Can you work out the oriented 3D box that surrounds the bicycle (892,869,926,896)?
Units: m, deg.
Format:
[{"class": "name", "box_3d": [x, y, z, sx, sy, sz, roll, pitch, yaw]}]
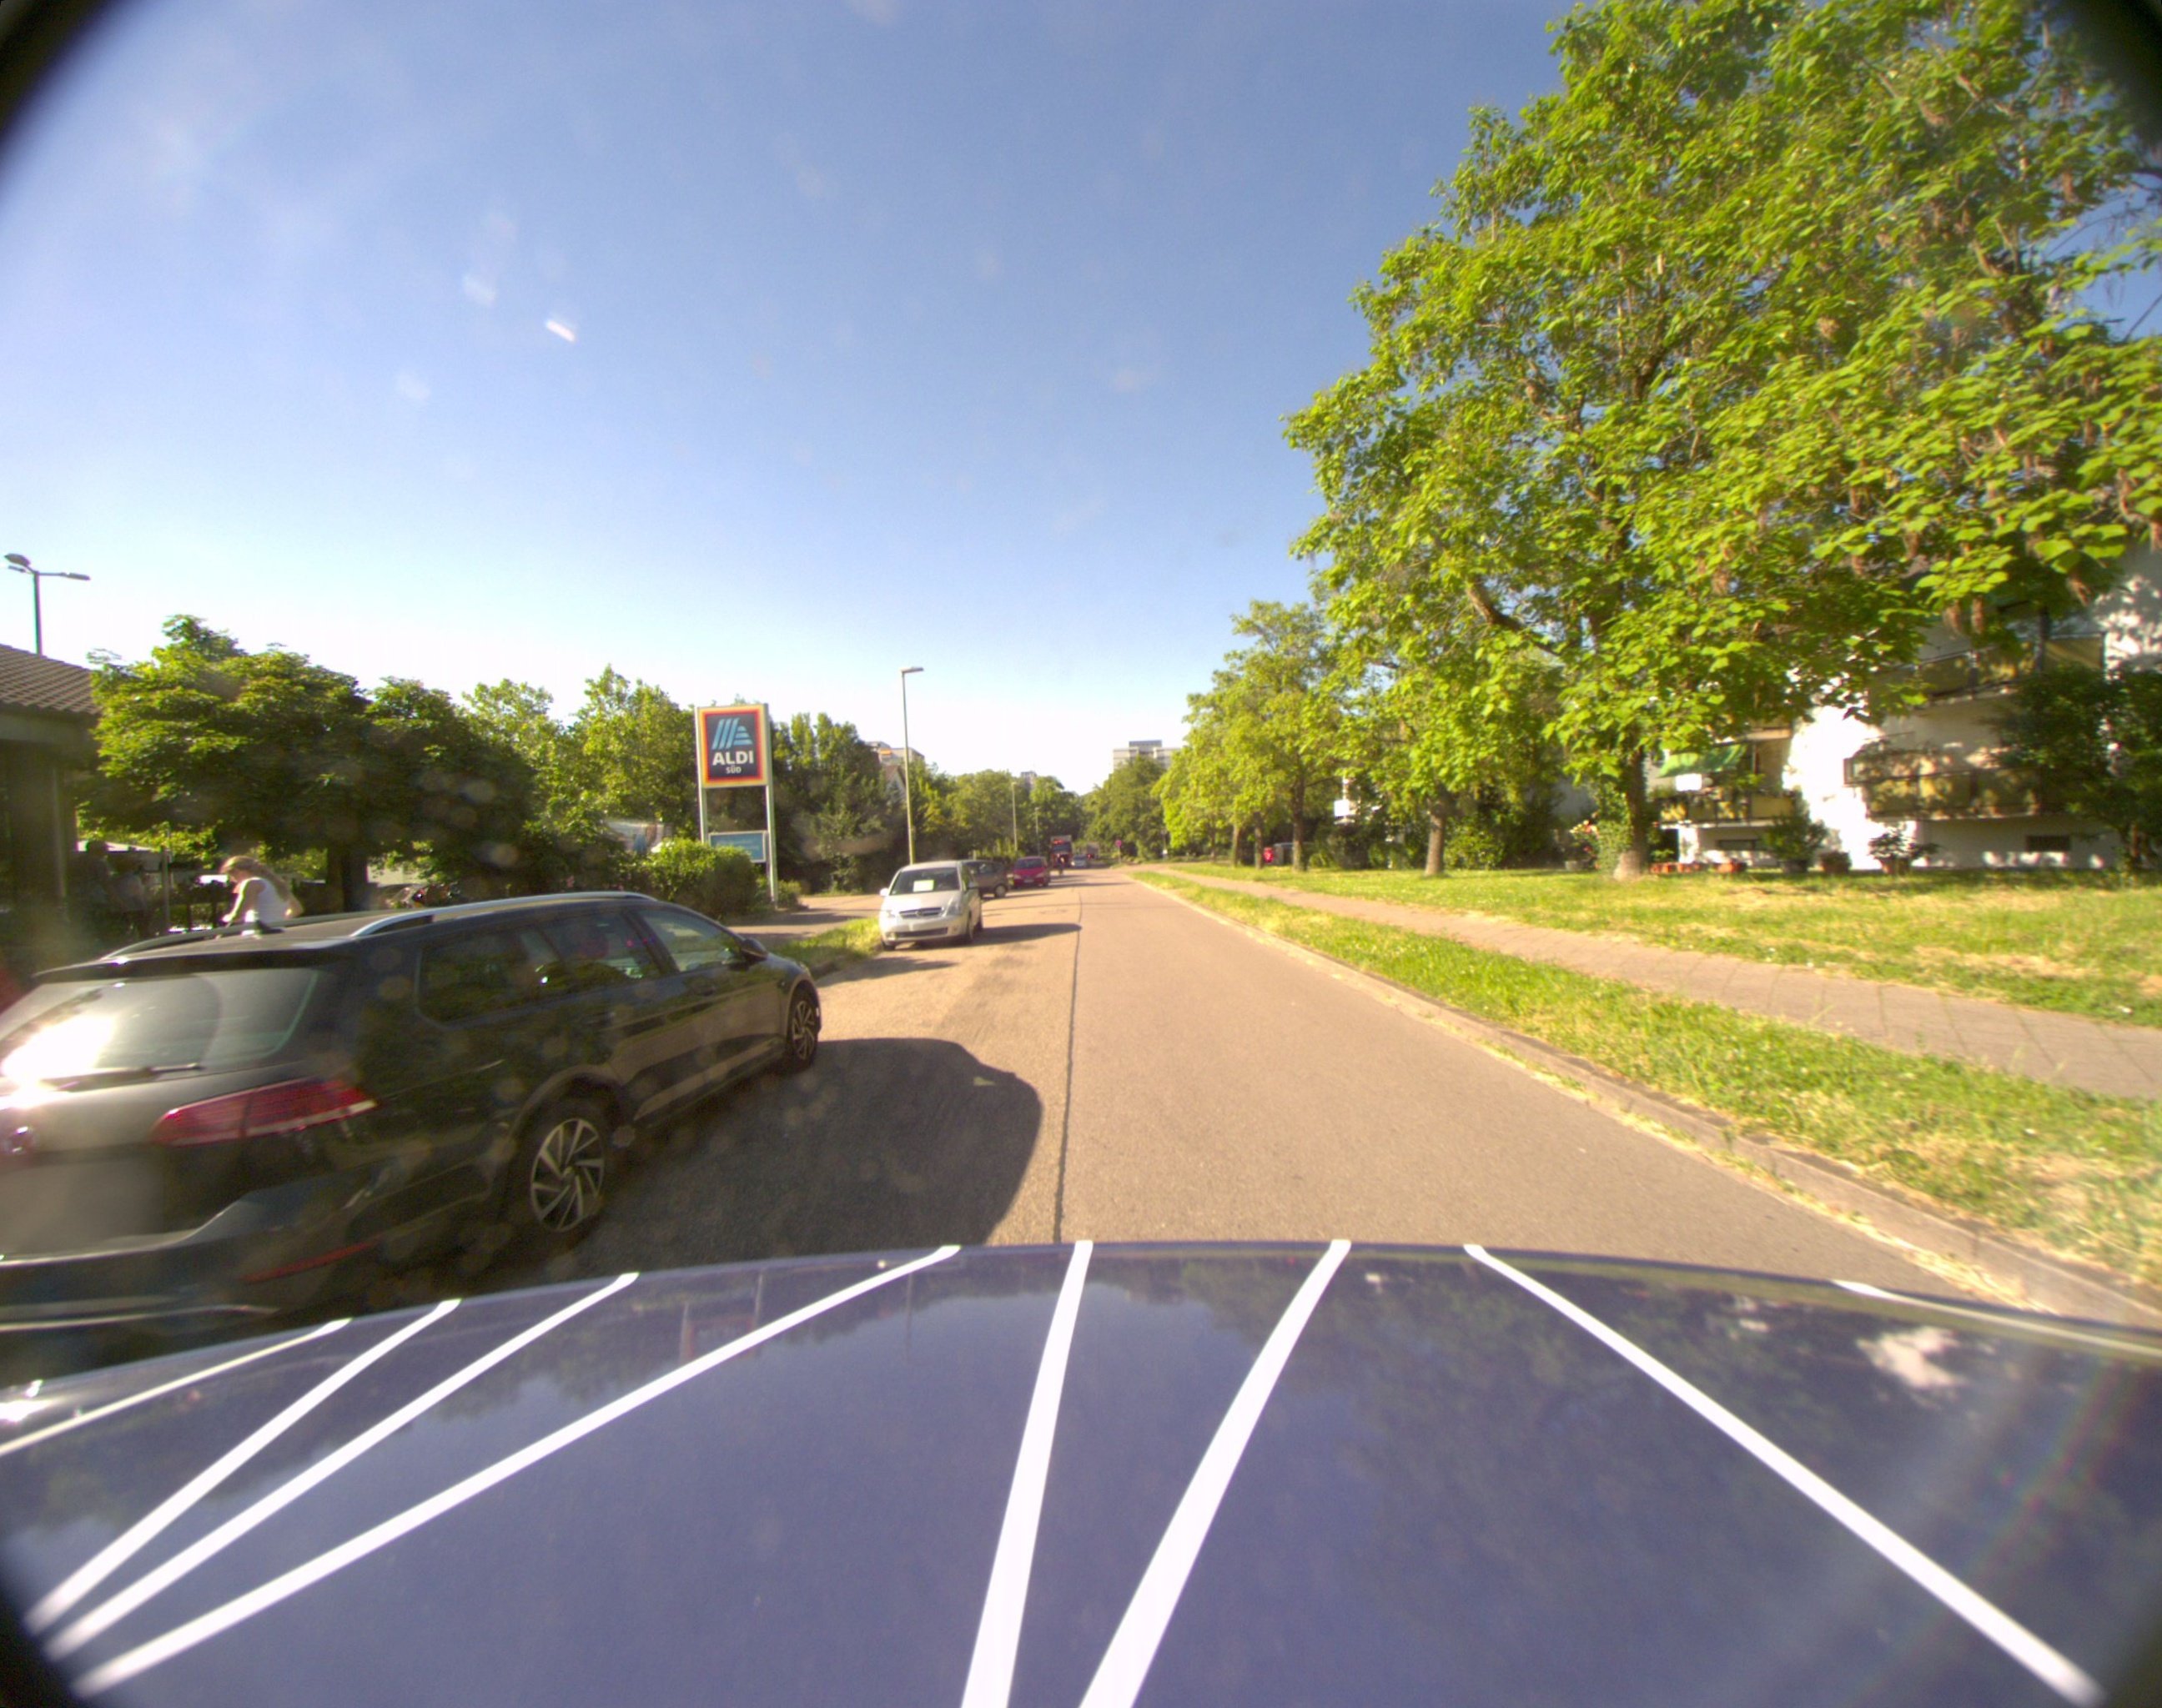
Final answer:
[{"class": "bicycle", "box_3d": [-8.313, 1.364, 36.755, 0.721, 1.214, 1.898, 0, 2, 16]}]

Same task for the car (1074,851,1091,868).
[{"class": "car", "box_3d": [0.161, 0.557, 87.090, 1.845, 1.795, 4.028, -3, 1, 0]}]

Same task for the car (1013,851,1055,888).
[{"class": "car", "box_3d": [-2.559, 0.823, 42.231, 1.844, 1.795, 4.653, -3, 1, 1]}]

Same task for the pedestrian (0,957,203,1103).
[{"class": "pedestrian", "box_3d": [-7.867, 1.386, 6.136, 0.533, 0.975, 0.811, -3, 1, 8]}]

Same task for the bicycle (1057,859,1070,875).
[{"class": "bicycle", "box_3d": [-1.413, 1.007, 60.304, 0.863, 1.164, 3.030, -3, 1, -3]}]

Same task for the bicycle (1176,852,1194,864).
[{"class": "bicycle", "box_3d": [11.504, 0.447, 83.869, 1.902, 1.146, 0.760, -2, 4, 10]}]

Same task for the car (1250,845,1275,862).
[{"class": "car", "box_3d": [18.772, -0.070, 78.738, 1.674, 1.479, 3.884, -2, 2, -1]}]

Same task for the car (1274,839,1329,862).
[{"class": "car", "box_3d": [20.255, -0.272, 69.979, 4.461, 1.957, 2.069, -2, 0, 3]}]

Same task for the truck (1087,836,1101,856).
[{"class": "truck", "box_3d": [2.819, -1.790, 162.060, 2.803, 3.996, 9.624, -1, 2, 1]}]

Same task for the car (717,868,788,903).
[{"class": "car", "box_3d": [-16.301, 1.518, 37.915, 1.777, 1.494, 3.802, -2, 0, 1]}]

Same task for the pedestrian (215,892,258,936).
[{"class": "pedestrian", "box_3d": [-33.121, 2.339, 29.795, 0.673, 1.646, 0.828, -2, 1, -1]}]

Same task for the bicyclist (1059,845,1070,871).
[{"class": "bicyclist", "box_3d": [-1.342, 0.295, 60.377, 0.753, 2.002, 0.711, -3, 1, -1]}]

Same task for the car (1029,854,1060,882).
[{"class": "car", "box_3d": [-2.292, 0.892, 48.969, 1.729, 1.647, 4.352, -2, 0, 0]}]

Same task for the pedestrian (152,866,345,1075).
[{"class": "pedestrian", "box_3d": [-7.538, 1.017, 6.923, 0.800, 1.771, 0.809, -2, 1, 8]}]

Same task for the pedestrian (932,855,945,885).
[{"class": "pedestrian", "box_3d": [-7.838, 0.860, 41.877, 0.574, 1.600, 0.792, -1, 2, -3]}]

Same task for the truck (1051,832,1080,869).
[{"class": "truck", "box_3d": [-1.948, -0.513, 97.624, 3.166, 4.320, 10.582, -2, 1, 1]}]

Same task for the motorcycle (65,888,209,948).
[{"class": "motorcycle", "box_3d": [-27.472, 1.823, 22.204, 0.871, 1.500, 2.597, -3, 0, 1]}]

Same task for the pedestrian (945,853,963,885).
[{"class": "pedestrian", "box_3d": [-6.998, 0.833, 41.911, 0.806, 1.707, 0.983, -1, 2, -3]}]

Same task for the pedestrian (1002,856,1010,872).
[{"class": "pedestrian", "box_3d": [-7.942, 1.035, 80.596, 0.641, 1.629, 0.641, -2, 1, 3]}]

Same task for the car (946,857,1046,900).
[{"class": "car", "box_3d": [-3.614, 1.017, 32.619, 3.762, 1.635, 1.851, -3, 0, -38]}]

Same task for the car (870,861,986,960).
[{"class": "car", "box_3d": [-2.961, 1.016, 15.522, 1.684, 1.590, 4.026, -3, 1, -3]}]

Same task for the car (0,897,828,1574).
[{"class": "car", "box_3d": [-3.059, 1.122, 4.103, 1.812, 1.435, 4.363, -3, 0, 1]}]
